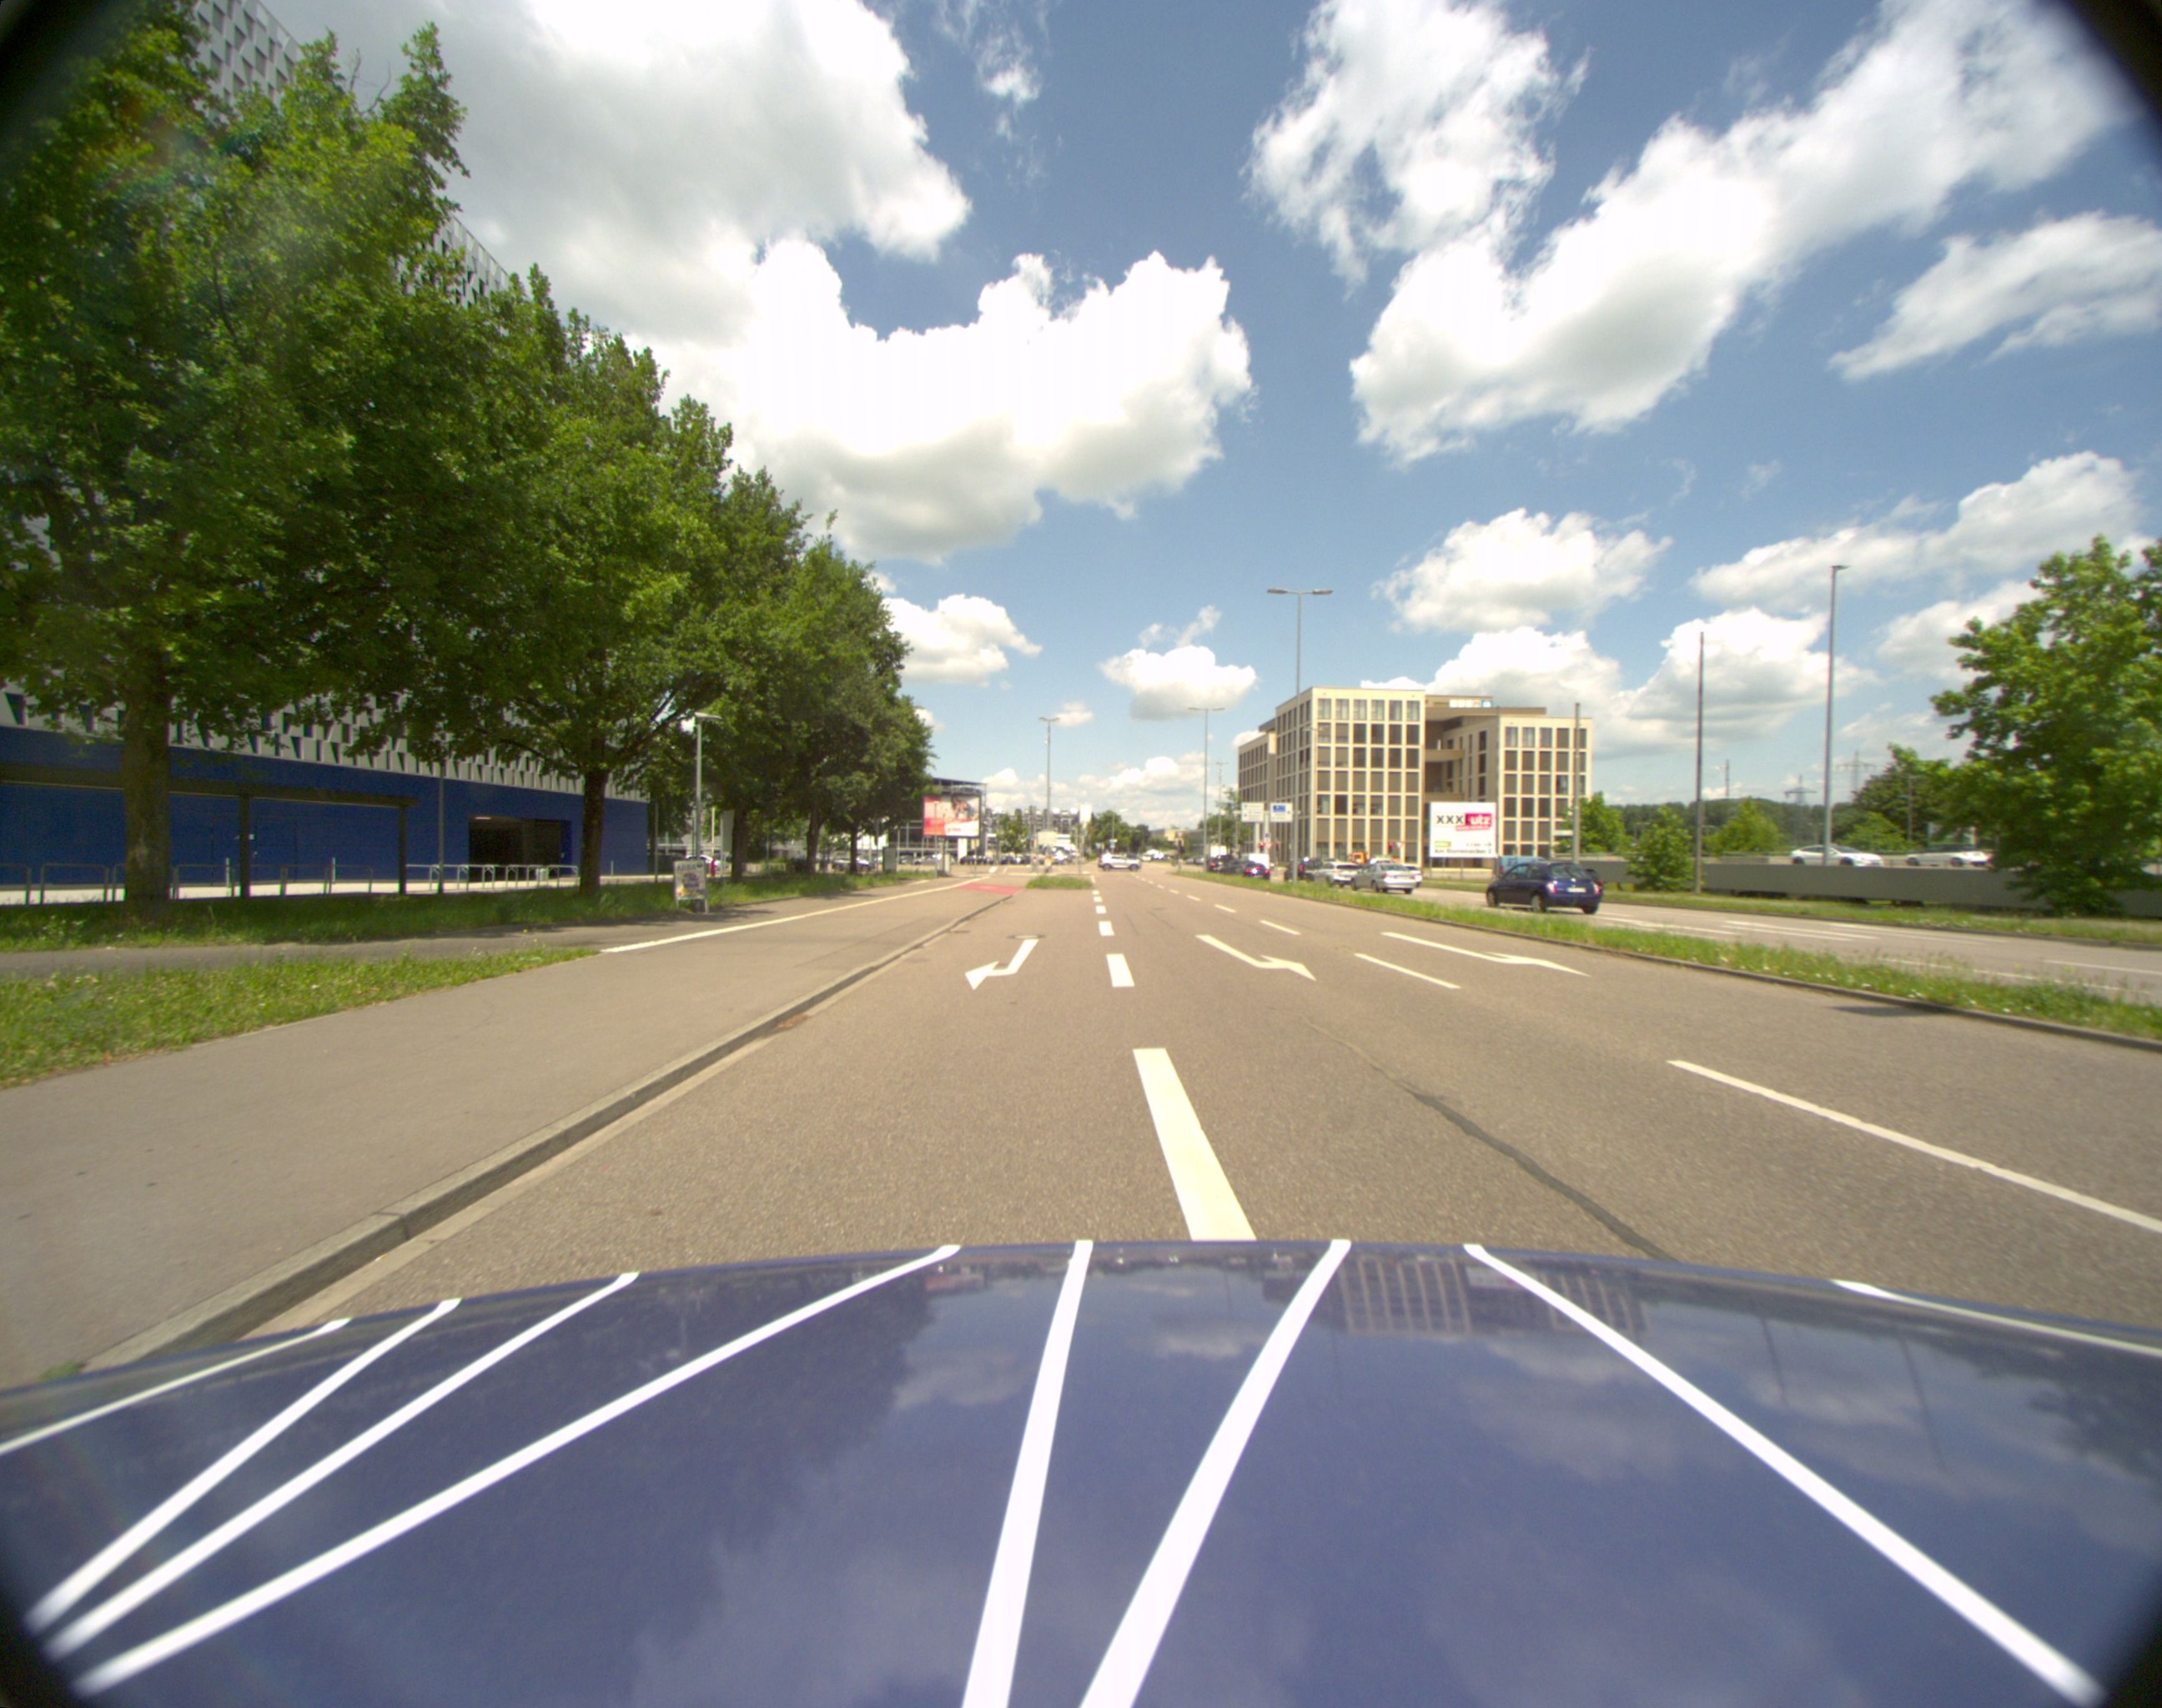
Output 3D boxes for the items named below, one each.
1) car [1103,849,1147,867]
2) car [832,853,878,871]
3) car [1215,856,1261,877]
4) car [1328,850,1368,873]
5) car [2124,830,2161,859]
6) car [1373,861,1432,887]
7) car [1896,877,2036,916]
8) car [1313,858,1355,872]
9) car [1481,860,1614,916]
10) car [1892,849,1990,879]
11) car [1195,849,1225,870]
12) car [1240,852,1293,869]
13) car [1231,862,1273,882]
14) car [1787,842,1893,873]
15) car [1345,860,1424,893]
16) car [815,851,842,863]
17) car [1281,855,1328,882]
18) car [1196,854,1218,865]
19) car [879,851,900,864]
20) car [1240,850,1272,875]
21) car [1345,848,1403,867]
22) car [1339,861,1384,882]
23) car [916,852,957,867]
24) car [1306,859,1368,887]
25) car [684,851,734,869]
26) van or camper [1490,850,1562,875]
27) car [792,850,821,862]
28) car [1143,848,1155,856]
[{"bbox_3d":[4.442,0.424,76.963,4.190,1.718,1.862,0,3,-3],"label":"car"},{"bbox_3d":[-22.017,0.814,74.186,3.999,1.681,1.857,1,0,-6],"label":"car"},{"bbox_3d":[11.948,0.934,58.035,1.799,1.551,3.764,1,-1,-19],"label":"car"},{"bbox_3d":[20.703,0.620,59.082,1.796,1.691,3.871,1,-1,0],"label":"car"},{"bbox_3d":[70.237,-0.608,48.528,1.855,1.822,3.832,1,0,-3],"label":"car"},{"bbox_3d":[19.599,1.177,46.511,1.623,1.464,4.358,1,-1,-2],"label":"car"},{"bbox_3d":[39.735,1.891,34.177,3.997,1.586,1.919,1,0,1],"label":"car"},{"bbox_3d":[29.925,1.293,89.966,4.310,1.622,1.999,1,0,-5],"label":"car"},{"bbox_3d":[13.988,0.965,23.037,1.743,1.466,3.675,1,1,0],"label":"car"},{"bbox_3d":[55.230,0.639,48.892,1.855,1.822,3.831,1,0,-5],"label":"car"},{"bbox_3d":[10.656,0.467,63.024,1.796,1.635,4.171,1,-1,1],"label":"car"},{"bbox_3d":[18.804,0.621,77.153,4.820,1.571,1.999,-1,1,-3],"label":"car"},{"bbox_3d":[11.395,1.180,50.890,1.796,1.243,4.307,1,-1,0],"label":"car"},{"bbox_3d":[47.739,0.198,47.961,1.855,1.822,4.673,1,0,-3],"label":"car"},{"bbox_3d":[14.124,1.001,35.676,1.796,1.409,4.674,2,0,0],"label":"car"},{"bbox_3d":[-33.162,0.430,99.921,1.795,1.543,4.003,1,0,9],"label":"car"},{"bbox_3d":[14.427,0.926,49.351,1.796,1.691,4.227,1,-1,0],"label":"car"},{"bbox_3d":[21.363,0.945,128.855,1.857,1.718,4.191,2,1,36],"label":"car"},{"bbox_3d":[-25.267,0.490,100.494,1.862,1.718,3.759,0,0,-1],"label":"car"},{"bbox_3d":[14.469,0.699,62.969,1.862,2.031,3.577,1,0,1],"label":"car"},{"bbox_3d":[39.071,0.507,101.432,6.529,2.315,2.854,2,1,2],"label":"car"},{"bbox_3d":[19.793,1.229,53.802,1.623,1.383,4.584,1,-1,2],"label":"car"},{"bbox_3d":[-17.309,0.645,91.103,4.700,1.622,1.999,1,0,-8],"label":"car"},{"bbox_3d":[14.161,1.027,42.295,1.796,1.393,4.845,1,-1,0],"label":"car"},{"bbox_3d":[-36.237,0.548,74.056,3.999,1.681,1.857,1,0,-5],"label":"car"},{"bbox_3d":[44.189,0.829,75.580,5.844,2.367,2.001,1,0,4],"label":"van or camper"},{"bbox_3d":[-36.064,0.302,99.833,1.795,1.543,4.003,1,0,9],"label":"car"},{"bbox_3d":[15.002,-0.409,167.605,2.290,1.708,4.483,1,1,2],"label":"car"}]
